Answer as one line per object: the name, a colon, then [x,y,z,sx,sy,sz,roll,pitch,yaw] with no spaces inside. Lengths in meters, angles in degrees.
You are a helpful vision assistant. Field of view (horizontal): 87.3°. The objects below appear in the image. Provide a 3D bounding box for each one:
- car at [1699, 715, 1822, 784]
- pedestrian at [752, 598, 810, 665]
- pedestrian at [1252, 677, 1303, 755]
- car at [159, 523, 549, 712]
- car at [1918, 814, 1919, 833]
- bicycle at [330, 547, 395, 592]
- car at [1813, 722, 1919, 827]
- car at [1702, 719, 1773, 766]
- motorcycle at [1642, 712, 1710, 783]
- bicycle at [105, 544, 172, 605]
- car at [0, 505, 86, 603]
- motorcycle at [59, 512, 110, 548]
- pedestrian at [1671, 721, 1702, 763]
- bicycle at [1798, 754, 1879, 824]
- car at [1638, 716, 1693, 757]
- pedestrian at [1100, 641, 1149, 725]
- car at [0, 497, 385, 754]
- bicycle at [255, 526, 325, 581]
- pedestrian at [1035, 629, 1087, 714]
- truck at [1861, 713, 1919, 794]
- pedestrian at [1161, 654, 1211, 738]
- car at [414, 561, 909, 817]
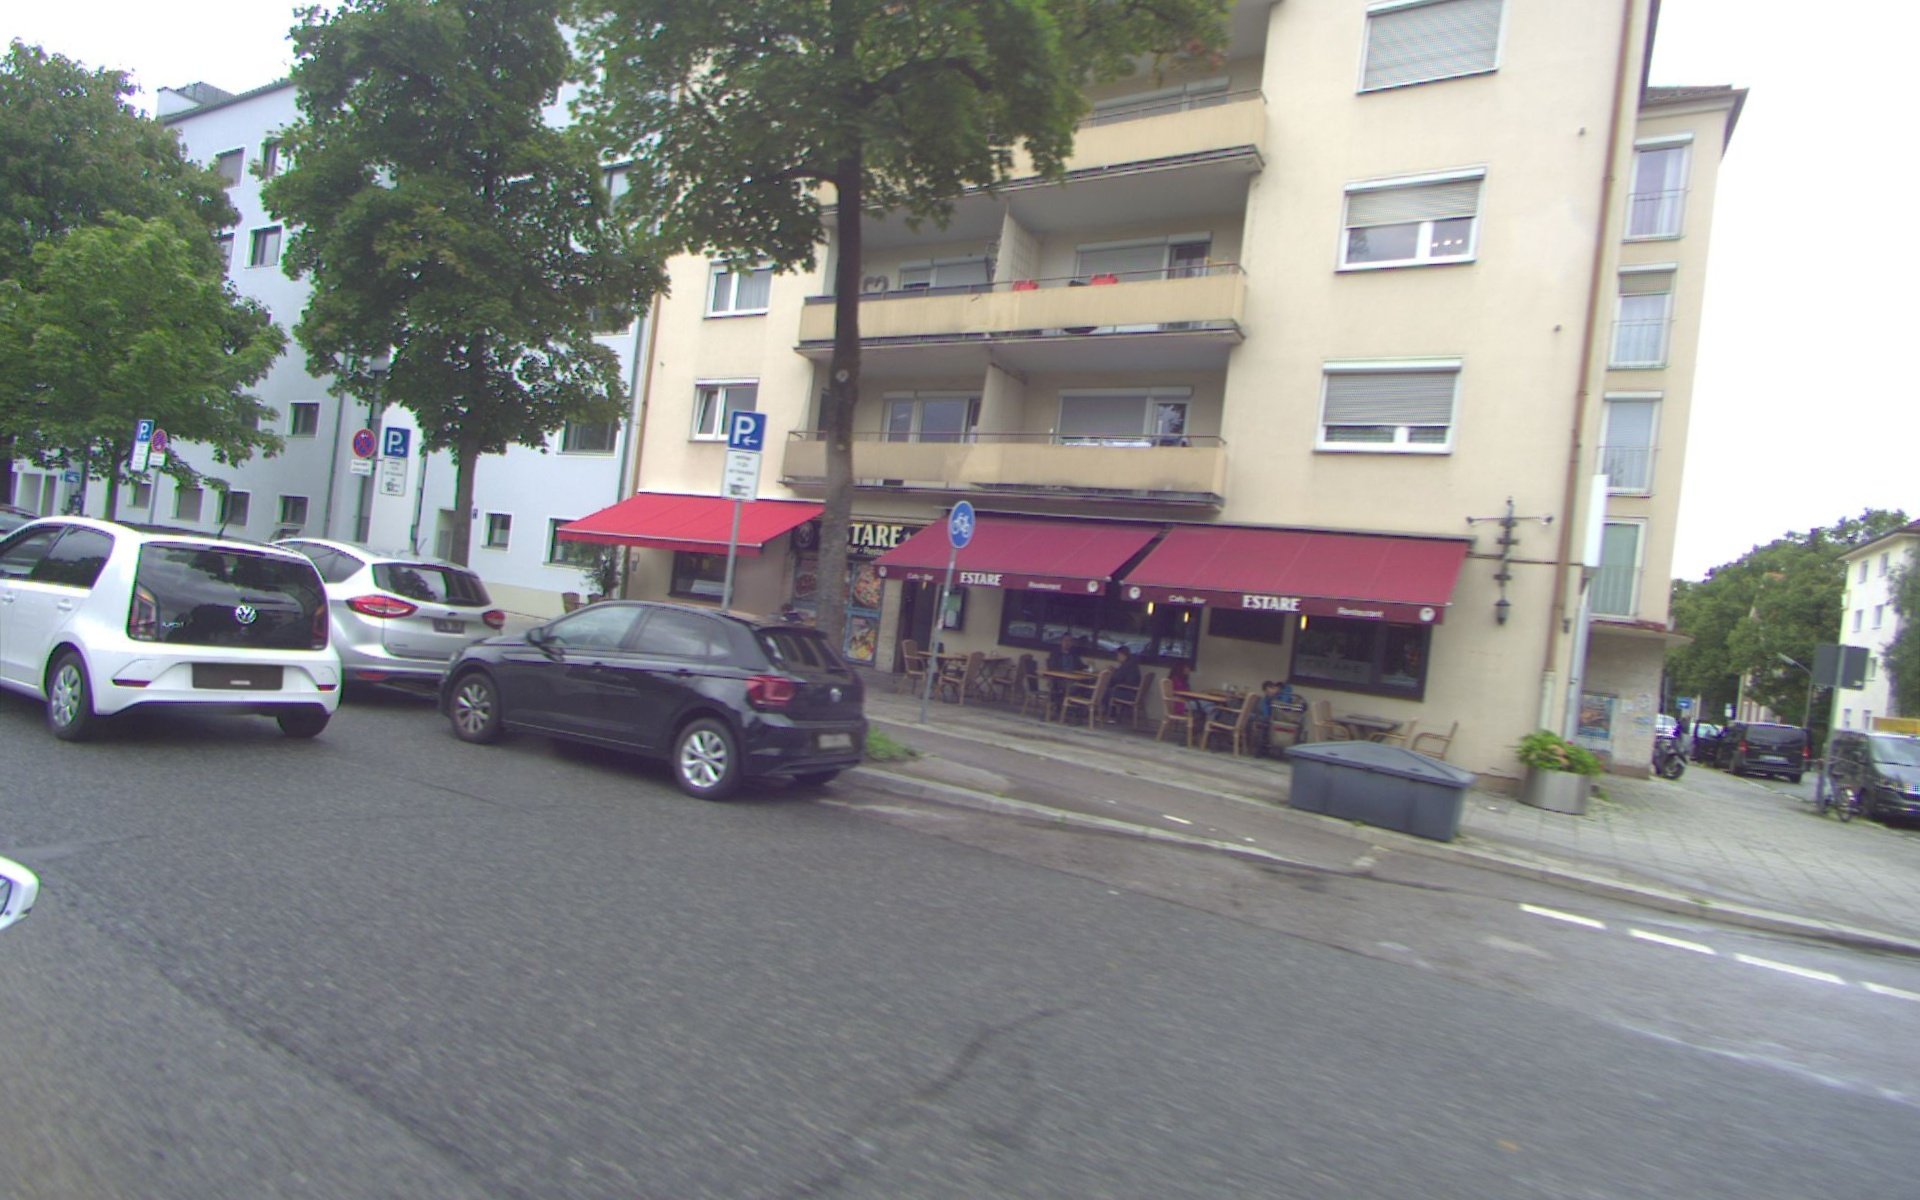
car: [27.864,5.150,35.228,2.117,1.806,4.999,7,-2,25]
pedestrian: [-3.454,0.617,19.450,0.636,1.177,0.744,7,-1,32]
pedestrian: [4.684,1.709,14.828,0.479,1.066,0.539,7,0,32]
car: [-6.991,0.162,11.496,4.448,1.540,1.833,7,-1,31]
car: [18.297,3.653,17.064,1.966,1.459,3.995,7,-2,31]
bicycle: [-16.620,-0.853,27.961,2.159,1.061,0.621,7,3,33]
car: [20.659,3.821,22.060,1.966,1.907,4.994,7,-2,30]
car: [30.375,5.517,39.395,1.573,1.459,3.763,7,-2,31]
motorcycle: [17.238,3.503,24.287,0.875,1.459,3.258,7,-2,30]
bicycle: [-15.150,-0.480,18.540,1.647,0.958,0.386,7,0,32]
car: [-17.637,-0.982,18.023,3.707,1.540,1.833,7,-1,31]
motorcycle: [-32.394,-2.605,37.216,2.163,1.099,0.762,7,0,33]
pedestrian: [26.411,5.154,36.588,0.721,1.427,0.494,7,0,27]
bicycle: [17.092,3.647,19.615,0.544,1.097,1.880,7,-1,24]
car: [39.680,7.635,56.675,1.966,1.806,4.994,7,-2,30]
pedestrian: [2.666,1.349,16.284,0.479,1.283,0.539,7,0,31]
car: [-6.375,0.107,7.816,3.376,1.507,1.690,7,-1,29]
bicycle: [-20.174,-1.402,30.274,2.550,1.425,0.703,7,2,32]
pedestrian: [1.718,1.216,17.014,0.543,1.355,0.539,7,0,31]
truck: [36.432,5.830,37.558,2.236,2.803,6.764,5,-2,27]
pedestrian: [3.534,1.491,15.705,0.479,1.229,0.538,7,0,32]
car: [-2.629,0.673,8.809,3.820,1.490,1.834,7,-1,27]
